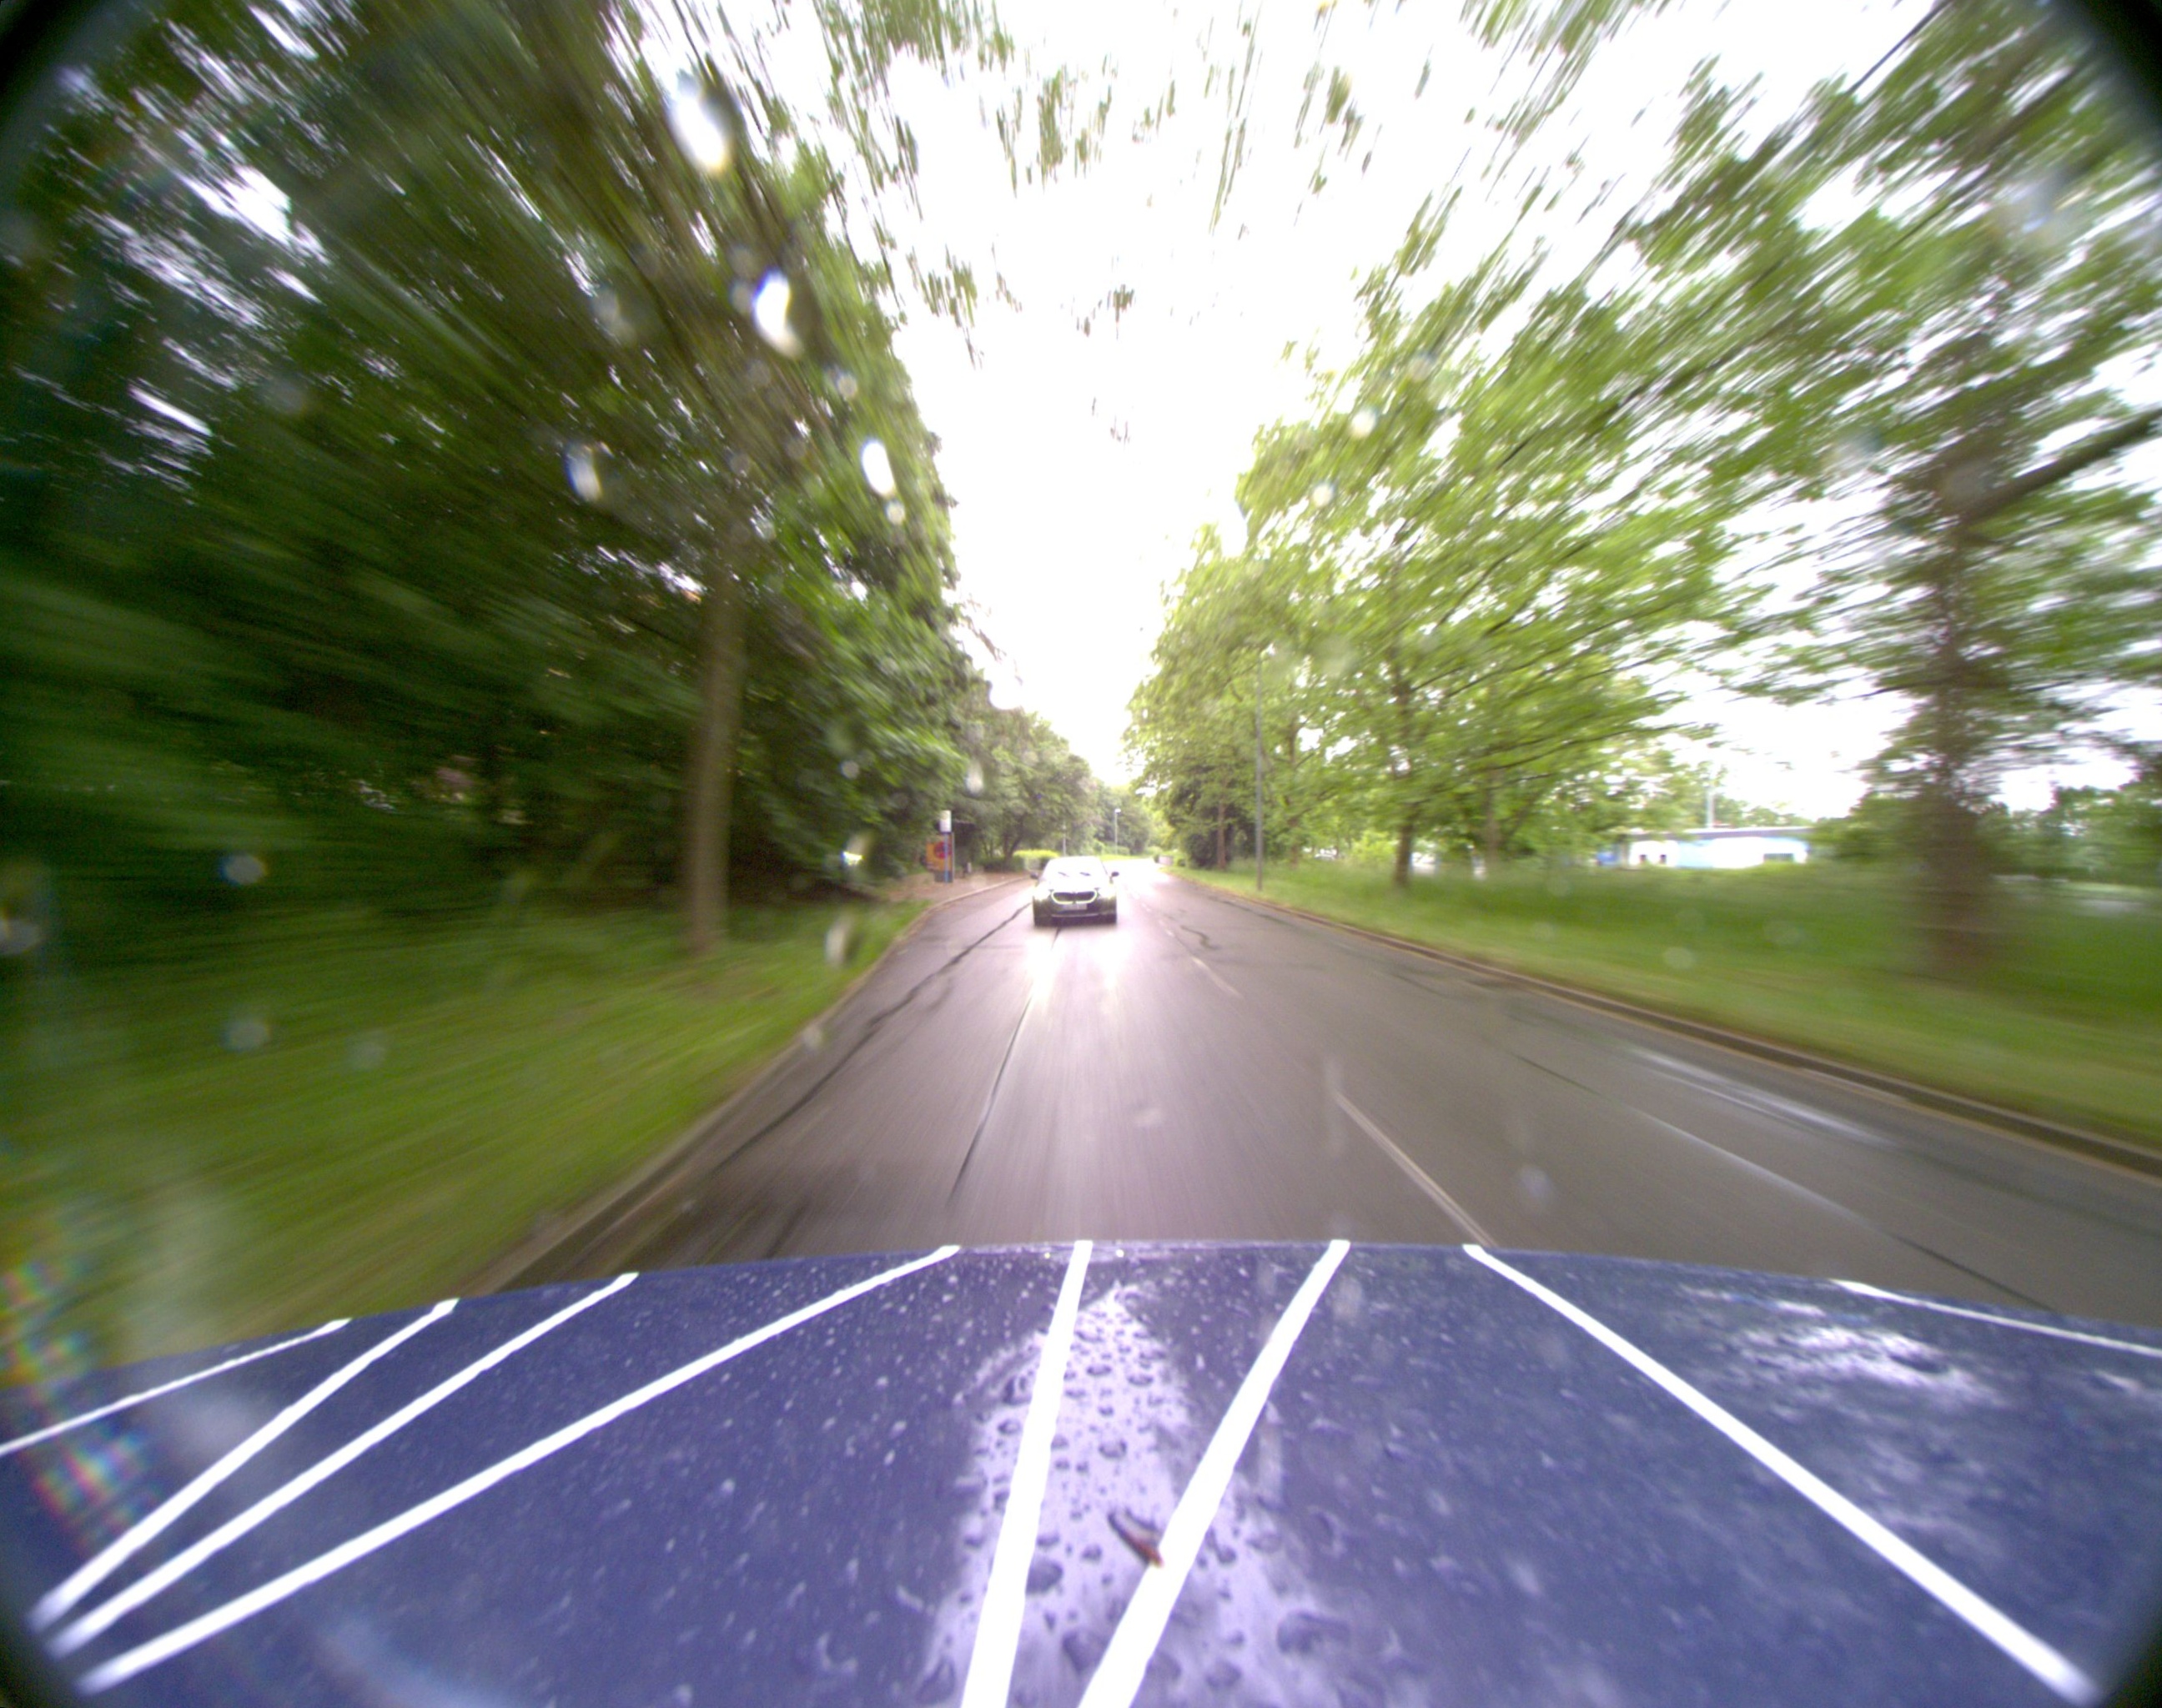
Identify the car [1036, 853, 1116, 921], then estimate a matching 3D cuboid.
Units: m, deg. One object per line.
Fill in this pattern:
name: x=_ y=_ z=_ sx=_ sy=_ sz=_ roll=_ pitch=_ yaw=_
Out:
car: x=-0.035 y=0.774 z=19.982 sx=1.832 sy=1.499 sz=4.498 roll=-2 pitch=1 yaw=2
